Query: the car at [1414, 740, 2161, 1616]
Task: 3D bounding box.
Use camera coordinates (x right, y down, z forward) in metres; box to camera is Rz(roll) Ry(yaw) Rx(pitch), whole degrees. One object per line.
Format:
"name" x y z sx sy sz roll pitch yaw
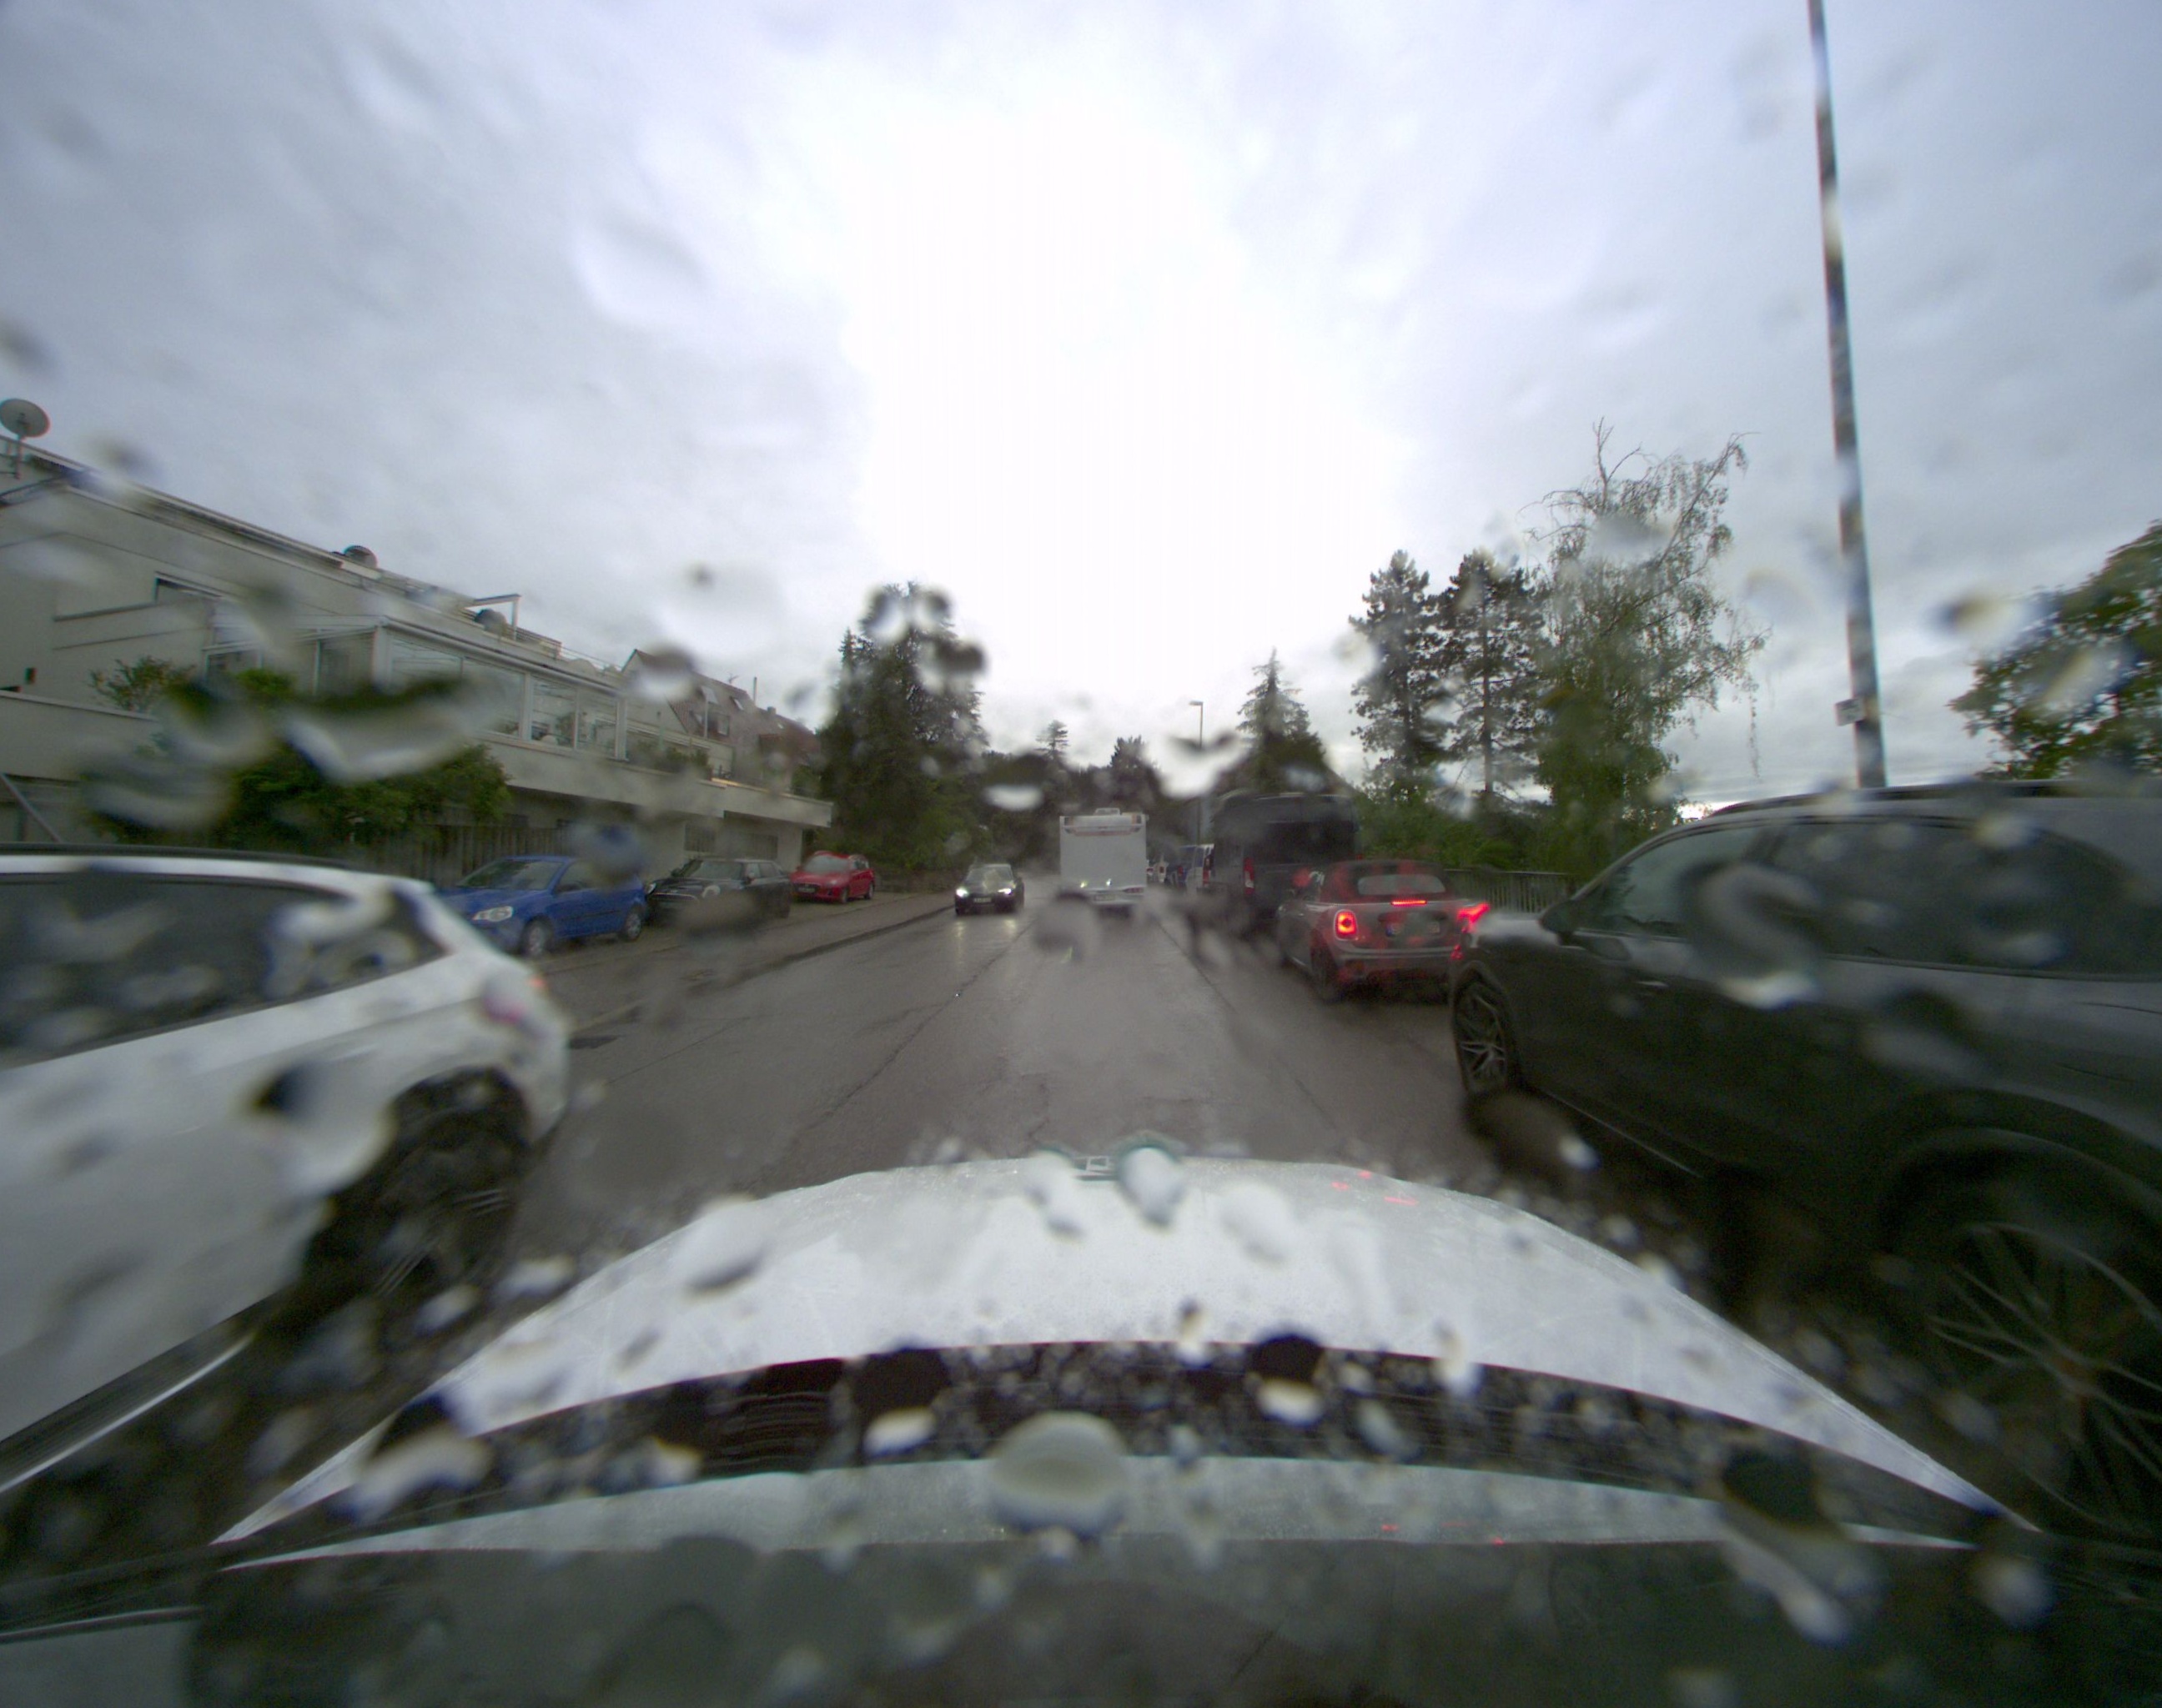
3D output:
"car" 3.104 0.602 3.133 1.928 1.672 4.698 -2 0 3

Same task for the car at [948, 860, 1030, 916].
"car" -2.699 0.958 24.782 1.767 1.437 4.364 -4 0 2

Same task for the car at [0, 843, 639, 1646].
"car" -3.005 0.762 1.578 1.792 1.567 4.385 0 0 2

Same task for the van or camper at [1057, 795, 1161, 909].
"van or camper" 0.875 0.045 23.540 2.605 2.853 6.035 0 -2 3

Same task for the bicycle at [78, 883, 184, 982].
"bicycle" -10.872 0.861 9.314 1.549 1.007 0.481 1 -1 30

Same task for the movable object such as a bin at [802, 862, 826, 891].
"movable object such as a bin" -10.223 0.858 31.224 0.573 1.056 0.685 0 0 13

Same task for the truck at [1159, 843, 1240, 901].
"truck" 4.171 0.589 29.824 2.106 1.852 6.619 1 0 1

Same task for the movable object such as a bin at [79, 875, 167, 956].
"movable object such as a bin" -12.984 0.823 11.043 0.542 1.041 0.564 1 -1 15

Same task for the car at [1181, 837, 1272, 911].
"car" 4.022 0.518 23.349 1.820 1.842 5.272 -2 0 2

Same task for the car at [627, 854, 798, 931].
"car" -7.855 0.746 17.850 1.627 1.396 4.240 3 0 2

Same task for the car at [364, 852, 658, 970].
"car" -8.383 0.728 12.481 1.602 1.434 3.959 3 0 1

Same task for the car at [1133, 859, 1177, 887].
"car" 3.967 0.984 44.241 1.683 1.457 4.049 0 0 -6

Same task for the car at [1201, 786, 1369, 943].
"car" 3.749 0.188 16.205 2.023 2.505 5.959 -2 0 2

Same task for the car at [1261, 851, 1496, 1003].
"car" 3.289 0.718 9.765 1.582 1.429 3.801 -2 0 3

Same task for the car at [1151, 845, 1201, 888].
"car" 4.427 0.562 38.546 1.853 1.921 5.080 0 0 1

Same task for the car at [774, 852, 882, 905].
"car" -7.890 0.720 25.907 1.767 1.437 4.590 4 0 2
